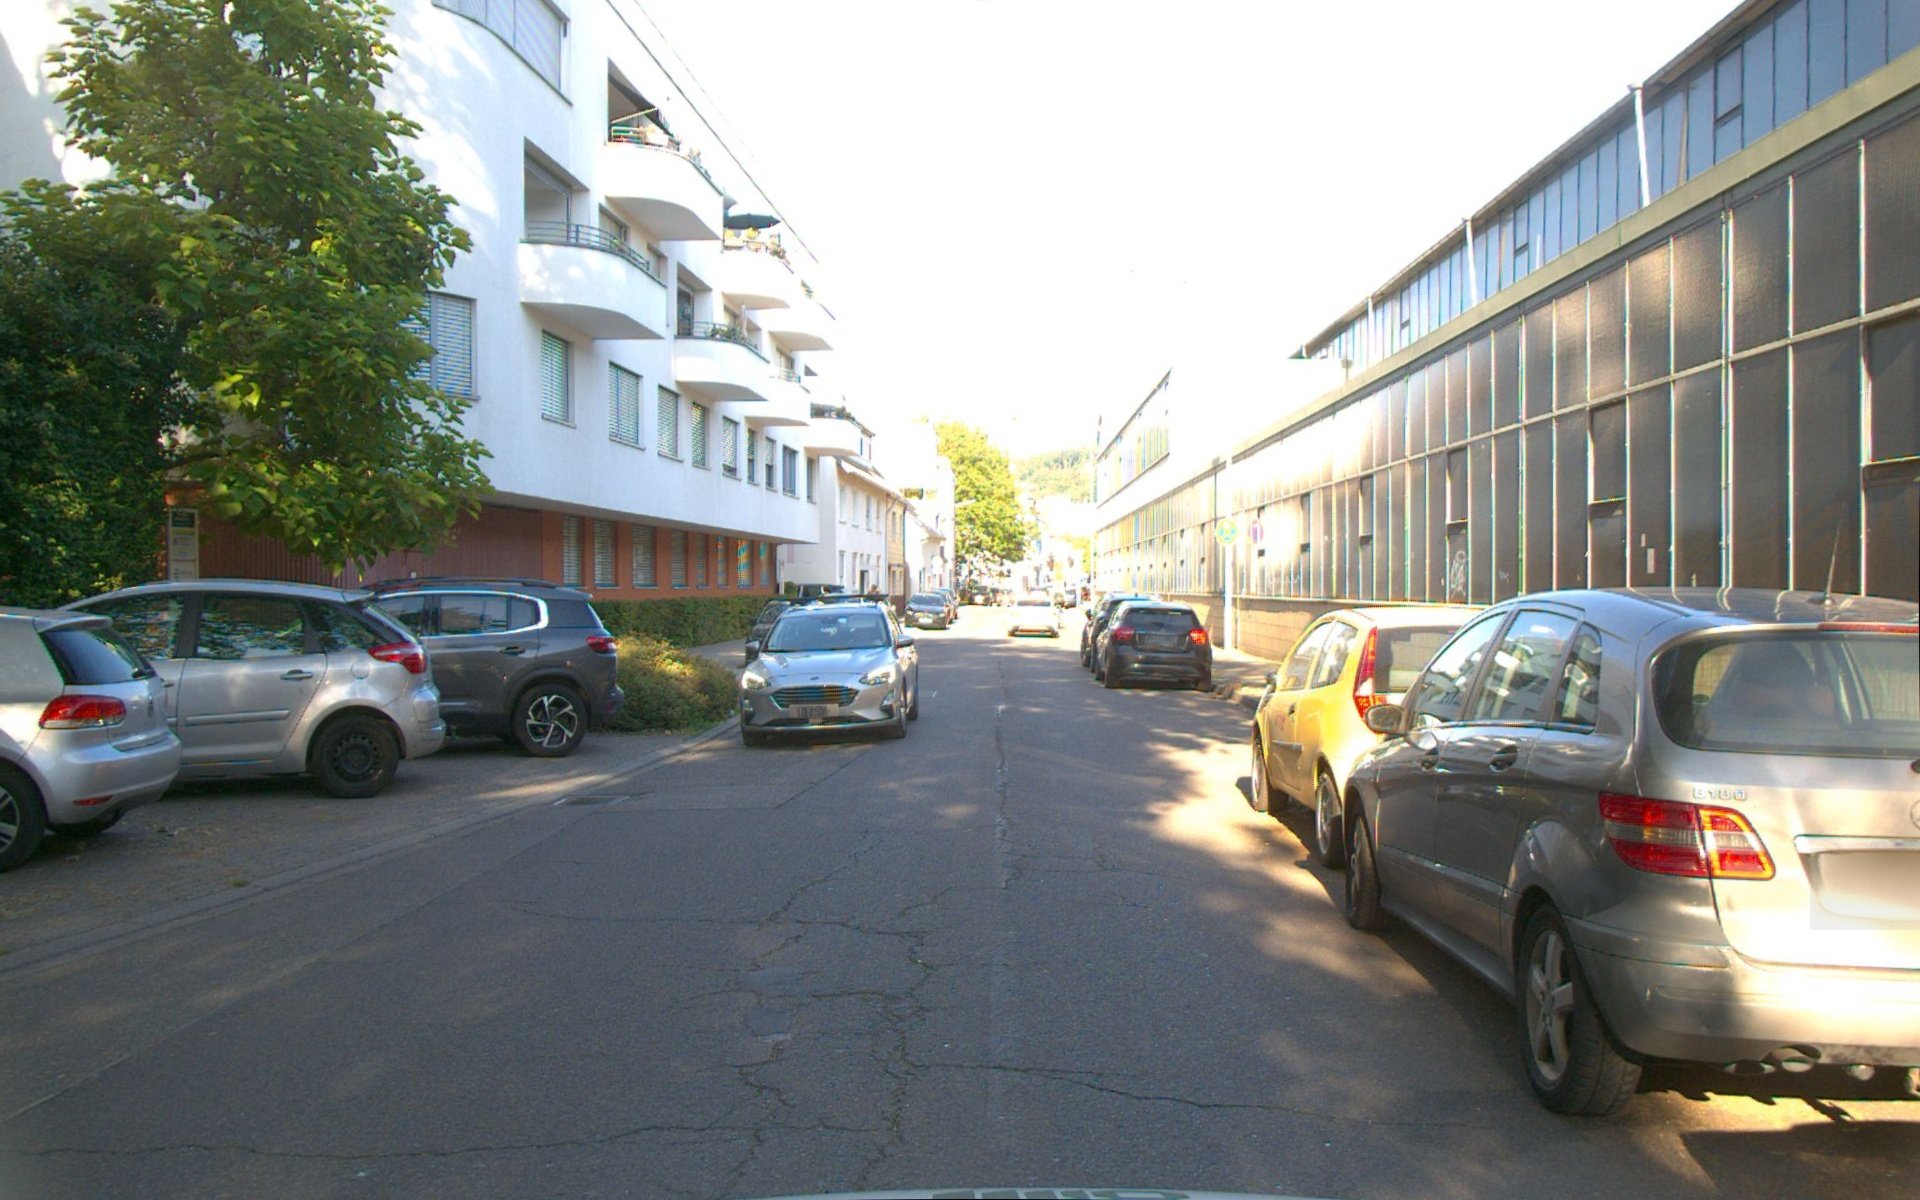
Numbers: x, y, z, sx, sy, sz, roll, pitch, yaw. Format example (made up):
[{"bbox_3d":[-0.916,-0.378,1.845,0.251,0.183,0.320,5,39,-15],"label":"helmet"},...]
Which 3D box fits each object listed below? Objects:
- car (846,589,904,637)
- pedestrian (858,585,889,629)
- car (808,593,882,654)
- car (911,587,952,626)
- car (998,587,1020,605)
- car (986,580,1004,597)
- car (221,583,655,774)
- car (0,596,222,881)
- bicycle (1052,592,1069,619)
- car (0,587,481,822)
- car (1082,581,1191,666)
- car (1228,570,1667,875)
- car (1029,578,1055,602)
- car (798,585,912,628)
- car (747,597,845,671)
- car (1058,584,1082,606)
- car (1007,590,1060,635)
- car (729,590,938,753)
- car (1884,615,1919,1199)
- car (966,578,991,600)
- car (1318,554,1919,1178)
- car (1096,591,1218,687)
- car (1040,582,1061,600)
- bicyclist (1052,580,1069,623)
[{"bbox_3d":[-2.867,0.426,56.431,1.633,1.562,3.858,1,0,1],"label":"car"},{"bbox_3d":[-3.763,0.310,71.713,0.844,1.850,1.131,3,1,26],"label":"pedestrian"},{"bbox_3d":[-3.234,0.626,47.077,1.820,1.615,4.620,1,0,-1],"label":"car"},{"bbox_3d":[-1.187,0.261,69.294,1.650,1.562,4.334,1,0,-1],"label":"car"},{"bbox_3d":[4.088,-0.328,137.868,1.804,1.517,4.145,0,0,2],"label":"car"},{"bbox_3d":[3.474,-1.165,161.792,1.669,1.603,3.915,0,1,2],"label":"car"},{"bbox_3d":[-5.129,0.690,16.304,3.899,1.691,1.686,0,0,-26],"label":"car"},{"bbox_3d":[-6.545,0.777,9.882,3.572,1.588,1.696,0,0,-10],"label":"car"},{"bbox_3d":[4.247,0.224,69.967,0.683,1.150,2.404,0,0,4],"label":"bicycle"},{"bbox_3d":[-5.993,0.739,13.118,4.070,1.669,1.765,0,0,-23],"label":"car"},{"bbox_3d":[3.576,0.442,34.195,1.770,1.615,4.405,1,0,0],"label":"car"},{"bbox_3d":[2.995,0.665,11.053,1.715,1.663,4.001,0,0,-1],"label":"car"},{"bbox_3d":[6.397,-0.815,129.160,1.815,1.822,4.608,0,1,1],"label":"car"},{"bbox_3d":[-4.010,0.246,63.404,4.232,1.562,1.690,1,0,0],"label":"car"},{"bbox_3d":[-3.439,0.683,35.265,1.640,1.458,3.771,1,0,1],"label":"car"},{"bbox_3d":[8.375,-0.386,125.877,1.596,1.614,4.070,-3,0,2],"label":"car"},{"bbox_3d":[2.532,0.407,57.715,1.804,1.517,4.145,0,0,2],"label":"car"},{"bbox_3d":[-1.338,0.723,19.333,1.860,1.562,4.622,-3,0,2],"label":"car"},{"bbox_3d":[2.761,0.792,0.984,1.861,1.519,4.528,0,0,-1],"label":"car"},{"bbox_3d":[1.619,-0.951,143.164,1.814,1.822,4.610,0,1,4],"label":"car"},{"bbox_3d":[2.697,0.703,6.562,1.714,1.663,4.310,0,0,1],"label":"car"},{"bbox_3d":[3.363,0.618,28.973,1.714,1.517,4.622,1,0,2],"label":"car"},{"bbox_3d":[8.065,-0.807,147.269,1.803,1.517,4.146,0,0,3],"label":"car"},{"bbox_3d":[4.242,0.058,69.896,0.683,1.821,1.041,0,0,4],"label":"bicyclist"}]
